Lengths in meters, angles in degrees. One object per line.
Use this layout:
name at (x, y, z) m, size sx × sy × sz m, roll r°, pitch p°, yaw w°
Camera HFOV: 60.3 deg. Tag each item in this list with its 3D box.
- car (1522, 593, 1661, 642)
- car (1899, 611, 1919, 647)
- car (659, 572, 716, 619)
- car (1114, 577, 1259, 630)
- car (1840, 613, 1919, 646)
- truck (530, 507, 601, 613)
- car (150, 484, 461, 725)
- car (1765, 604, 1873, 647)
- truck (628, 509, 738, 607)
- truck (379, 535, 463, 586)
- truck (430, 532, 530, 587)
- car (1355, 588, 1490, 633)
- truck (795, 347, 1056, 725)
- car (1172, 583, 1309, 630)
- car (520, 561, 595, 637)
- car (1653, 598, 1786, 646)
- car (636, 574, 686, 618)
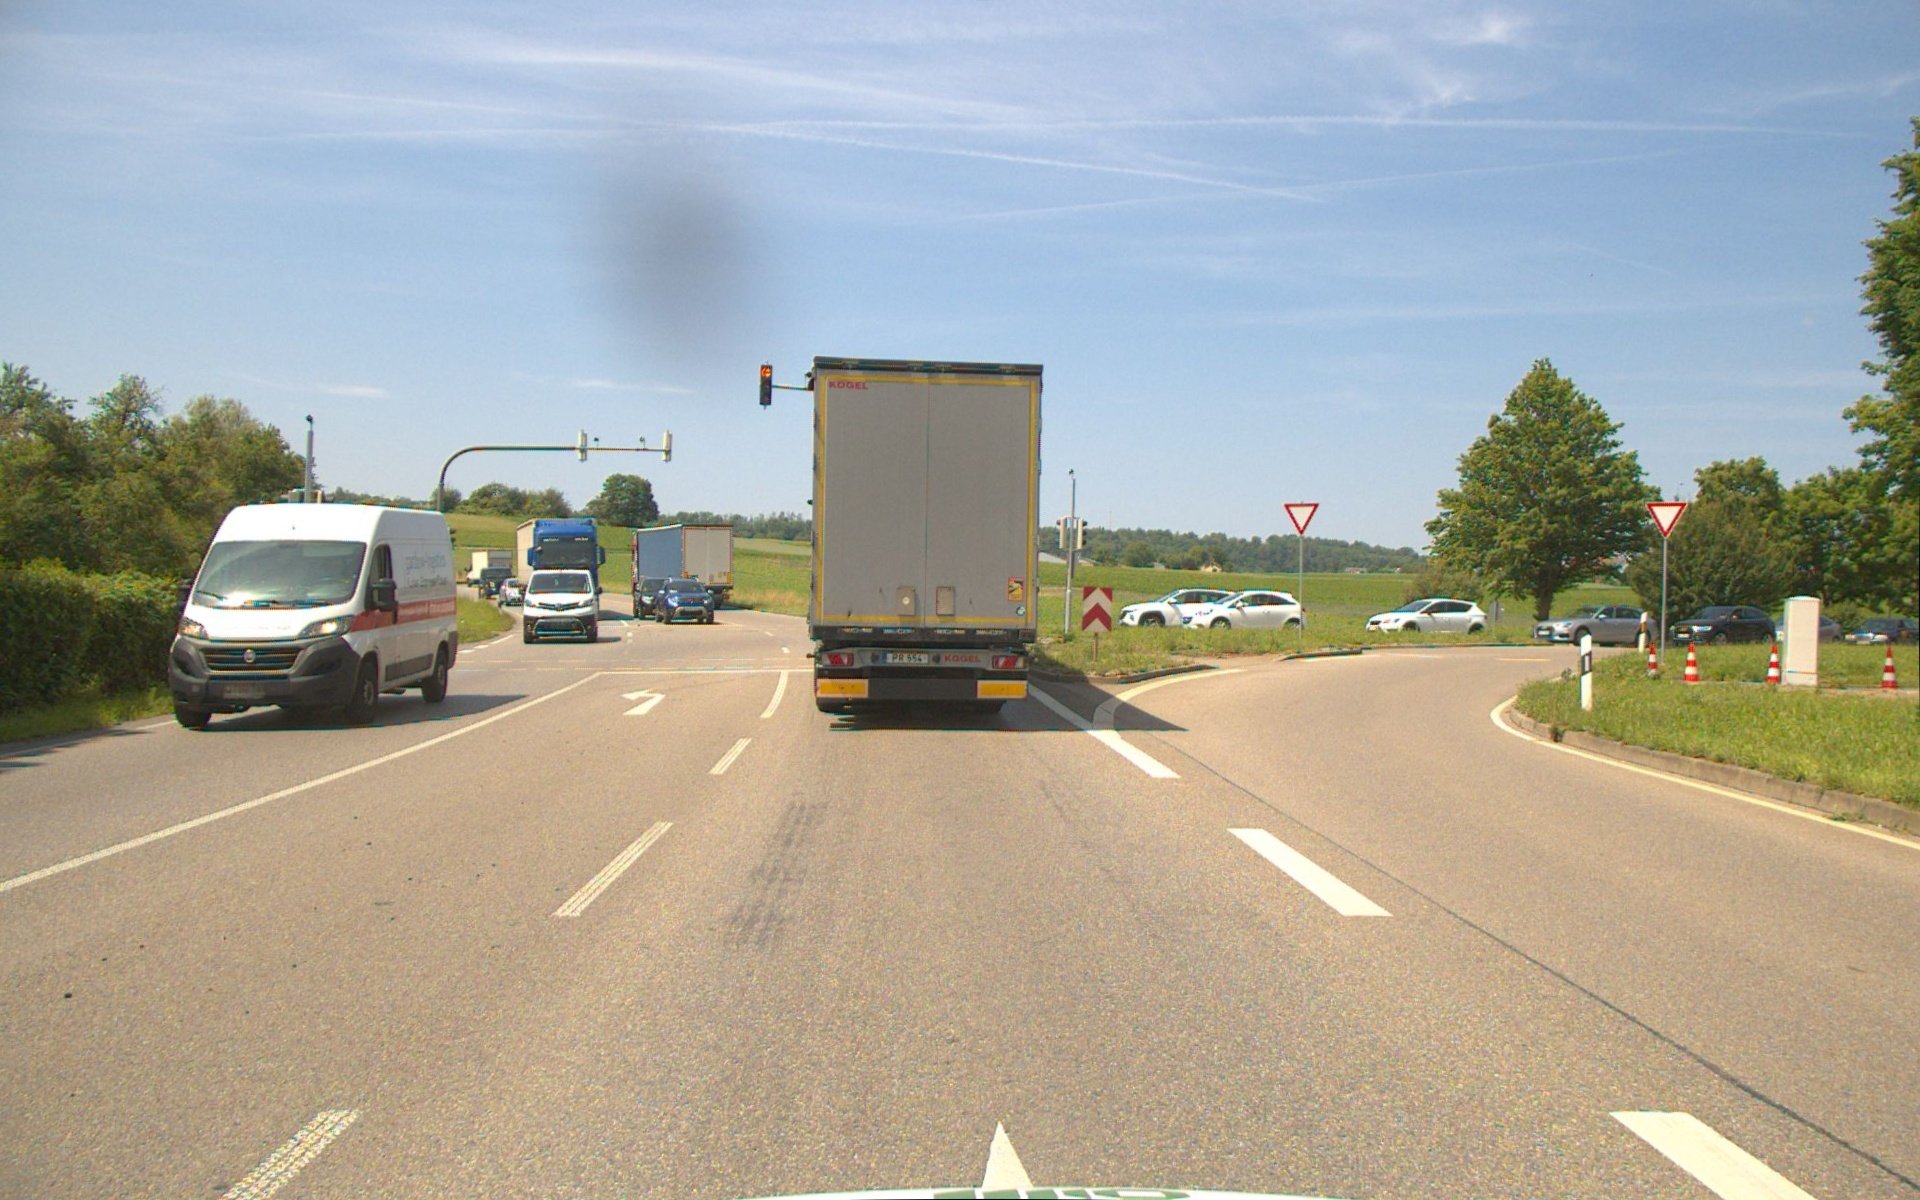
car at (21.621, 0.624, 56.630) m, size 4.486 × 1.536 × 1.788 m, roll 2°, pitch -1°, yaw -23°
car at (42.099, 1.283, 71.313) m, size 4.201 × 1.536 × 1.771 m, roll 2°, pitch -1°, yaw -45°
car at (-10.089, -0.171, 61.022) m, size 1.741 × 1.687 × 3.985 m, roll 0°, pitch 0°, yaw -14°
car at (7.685, 0.137, 56.339) m, size 4.538 × 1.635 × 1.995 m, roll 2°, pitch -2°, yaw -7°
car at (37.542, 1.212, 67.005) m, size 4.518 × 1.295 × 1.775 m, roll 2°, pitch -1°, yaw -40°
truck at (-16.118, -1.596, 67.348) m, size 2.525 × 4.100 × 6.532 m, roll 0°, pitch 1°, yaw -16°
car at (-7.644, 0.014, 19.959) m, size 2.011 × 2.495 × 5.263 m, roll -1°, pitch 1°, yaw -5°
car at (32.459, 0.960, 62.452) m, size 4.509 × 1.536 × 1.779 m, roll 2°, pitch -1°, yaw -35°
truck at (-14.779, -2.040, 86.728) m, size 2.917 × 4.664 × 16.222 m, roll 0°, pitch 0°, yaw -20°
truck at (-50.267, -3.554, 153.831) m, size 3.501 × 4.315 × 13.234 m, roll 1°, pitch -1°, yaw -36°
truck at (-40.949, -3.345, 140.771) m, size 3.612 × 4.202 × 12.916 m, roll 2°, pitch -1°, yaw -38°
car at (15.244, 0.358, 54.554) m, size 4.032 × 1.444 × 1.790 m, roll 0°, pitch -1°, yaw -21°
truck at (-0.762, -0.721, 22.604) m, size 2.753 × 4.015 × 9.581 m, roll 1°, pitch 0°, yaw -5°
car at (8.868, 0.219, 52.365) m, size 3.891 × 1.444 × 1.822 m, roll 0°, pitch -1°, yaw -13°
car at (-10.823, -0.038, 44.518) m, size 1.839 × 1.919 × 4.933 m, roll -1°, pitch 0°, yaw -14°
car at (27.034, 0.793, 58.859) m, size 4.487 × 1.536 × 1.787 m, roll 3°, pitch -2°, yaw -24°
car at (-12.147, -0.174, 67.002) m, size 1.741 × 1.687 × 3.986 m, roll 0°, pitch 0°, yaw -14°
